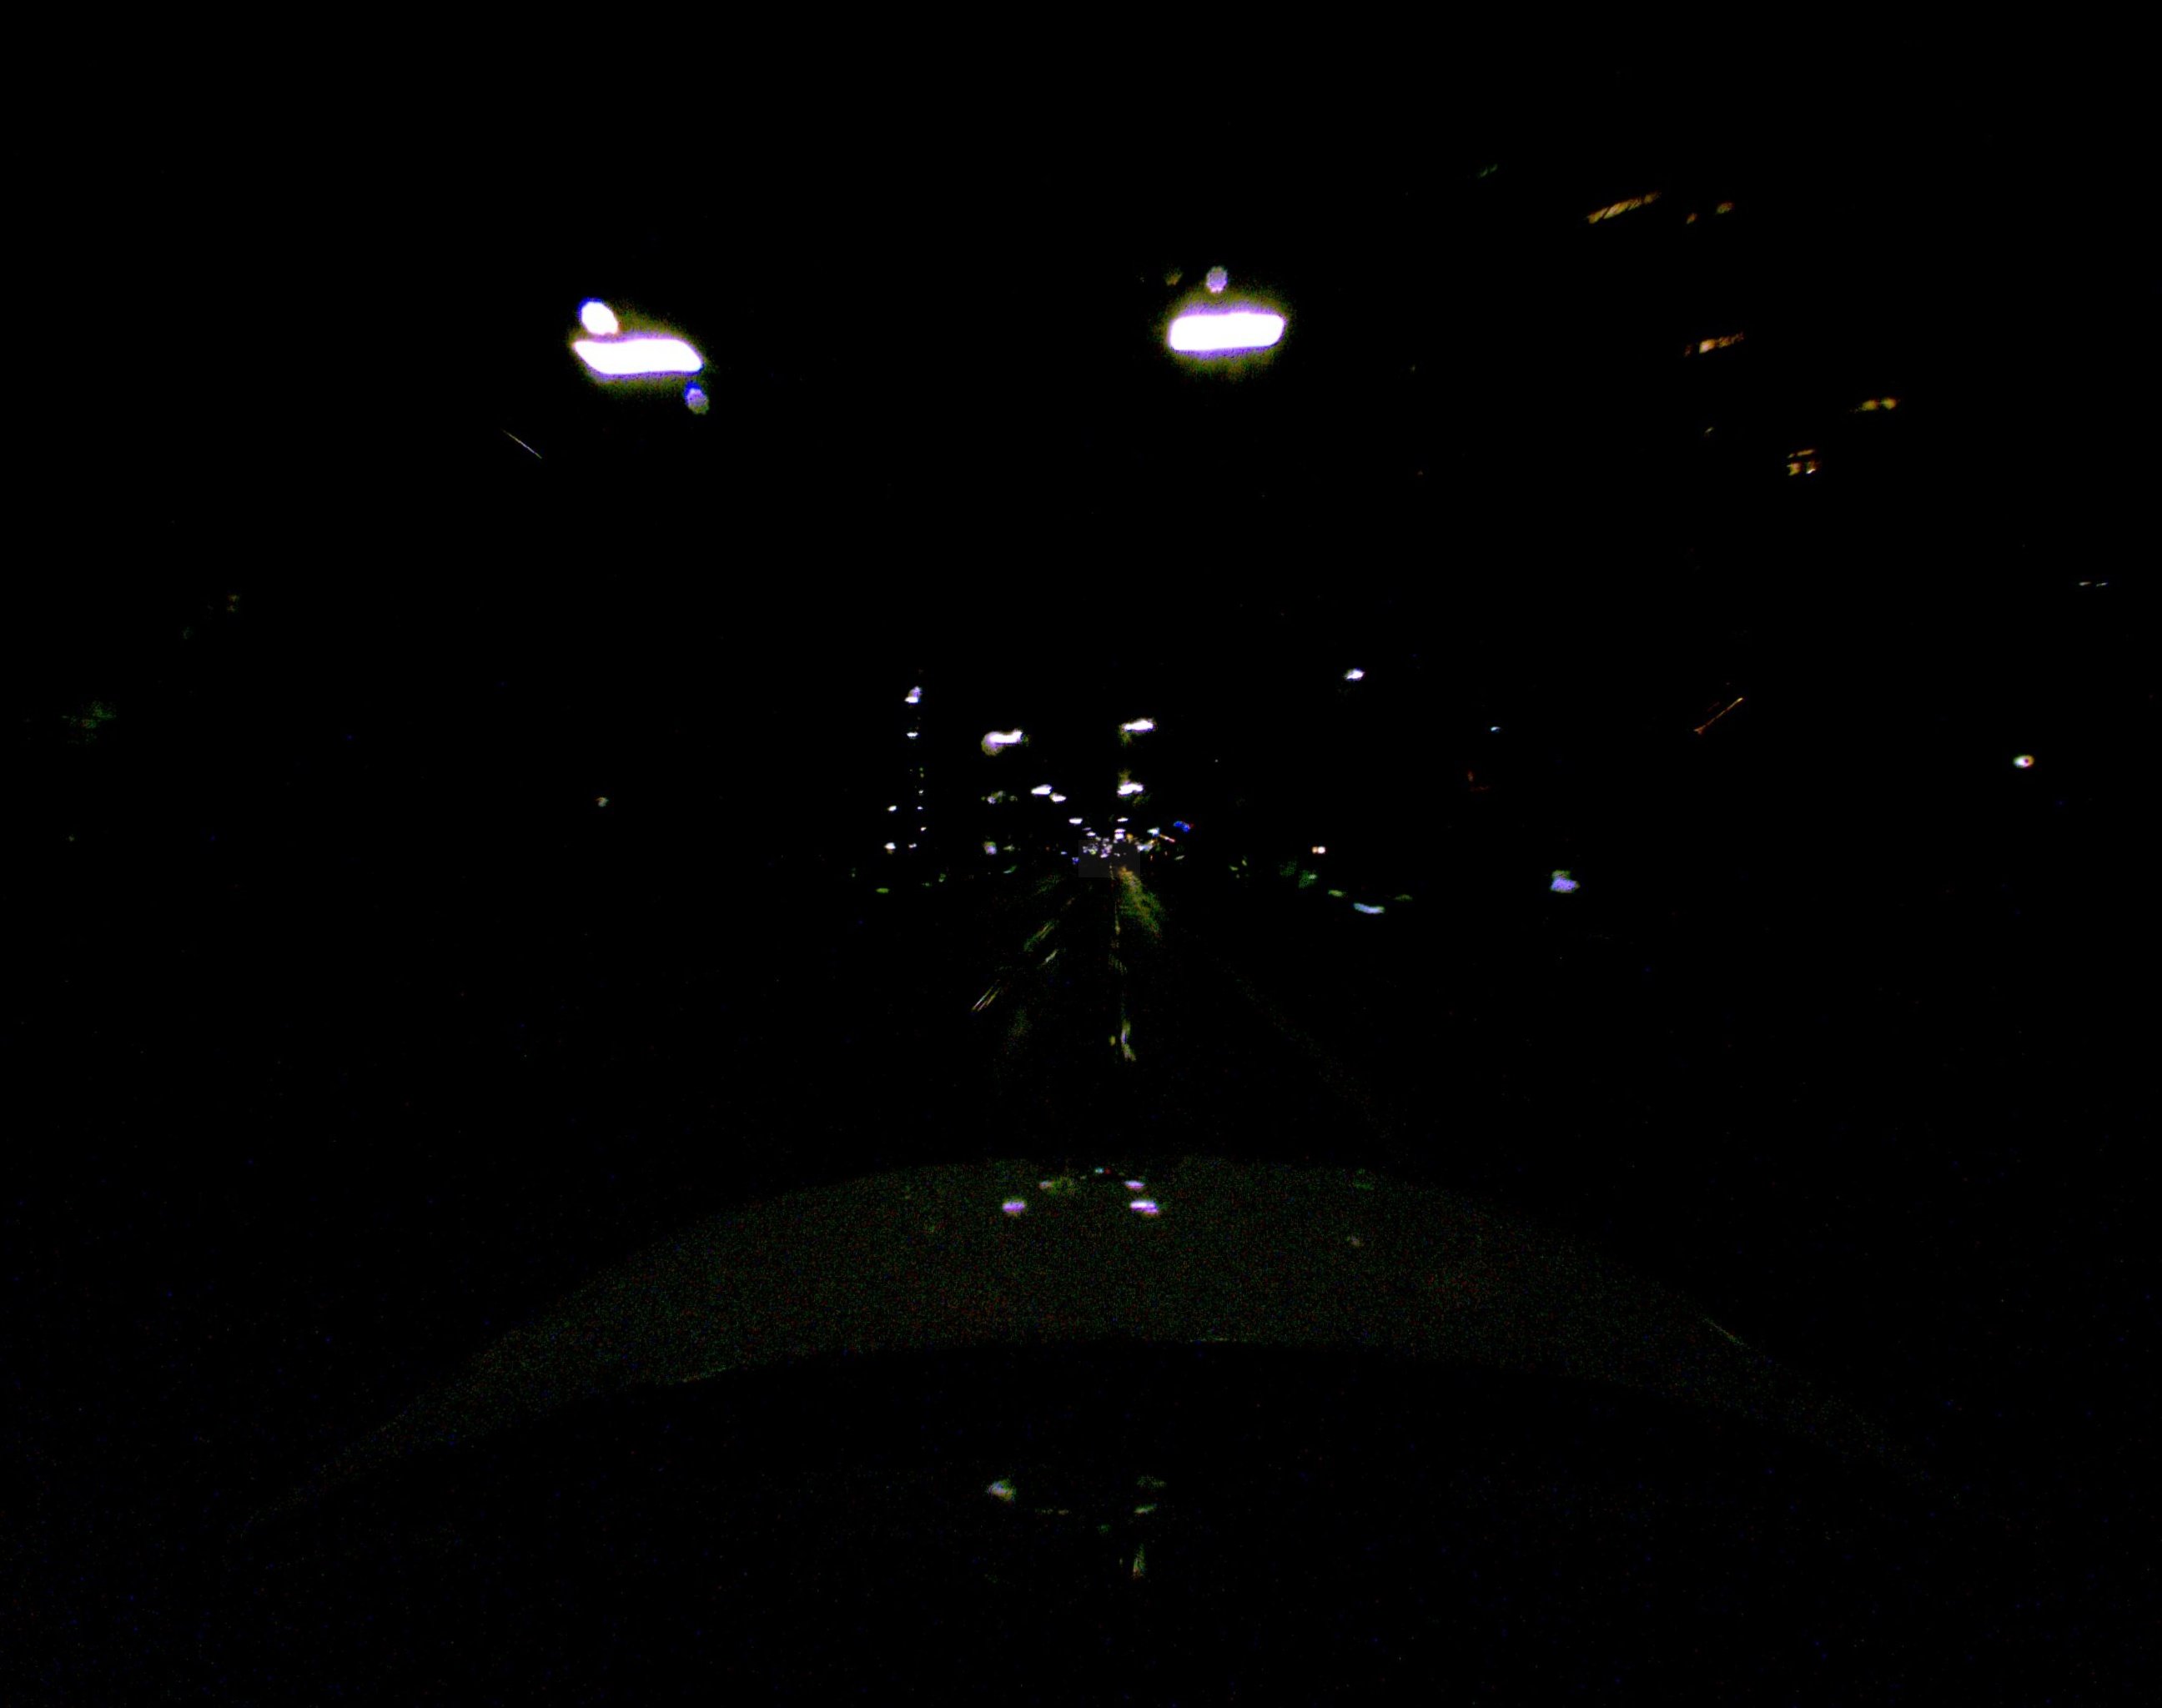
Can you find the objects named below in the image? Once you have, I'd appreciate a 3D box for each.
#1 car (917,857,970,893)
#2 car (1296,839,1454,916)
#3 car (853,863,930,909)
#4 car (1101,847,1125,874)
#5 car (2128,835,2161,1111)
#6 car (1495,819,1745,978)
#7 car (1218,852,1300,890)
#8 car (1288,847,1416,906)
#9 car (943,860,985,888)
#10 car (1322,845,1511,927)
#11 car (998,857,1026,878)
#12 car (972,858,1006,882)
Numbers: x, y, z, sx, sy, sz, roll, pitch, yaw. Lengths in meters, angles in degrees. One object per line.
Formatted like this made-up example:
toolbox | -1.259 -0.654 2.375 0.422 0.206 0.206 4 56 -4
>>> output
car | -7.221 1.093 43.142 1.992 1.785 4.001 1 -1 2
car | 7.358 0.539 20.183 4.272 1.698 2.005 1 0 -44
car | -7.967 1.306 34.720 2.102 1.765 4.963 1 -1 -1
car | 3.082 0.616 79.242 2.209 2.441 5.384 0 0 0
car | 6.748 0.621 4.128 3.848 1.430 1.618 0 0 -40
car | 6.989 0.467 10.394 2.030 1.623 3.851 0 0 43
car | 7.892 0.739 35.960 1.886 1.572 3.987 0 0 40
car | 7.898 0.605 23.572 3.984 1.572 1.887 1 0 -44
car | -7.694 1.283 53.826 2.015 1.761 4.001 1 -1 1
car | 6.932 0.591 16.610 4.271 1.454 1.928 1 0 -42
car | -6.276 1.228 74.419 2.015 1.761 4.001 1 -1 1
car | -7.080 1.262 63.101 2.015 1.761 4.001 1 -1 1
